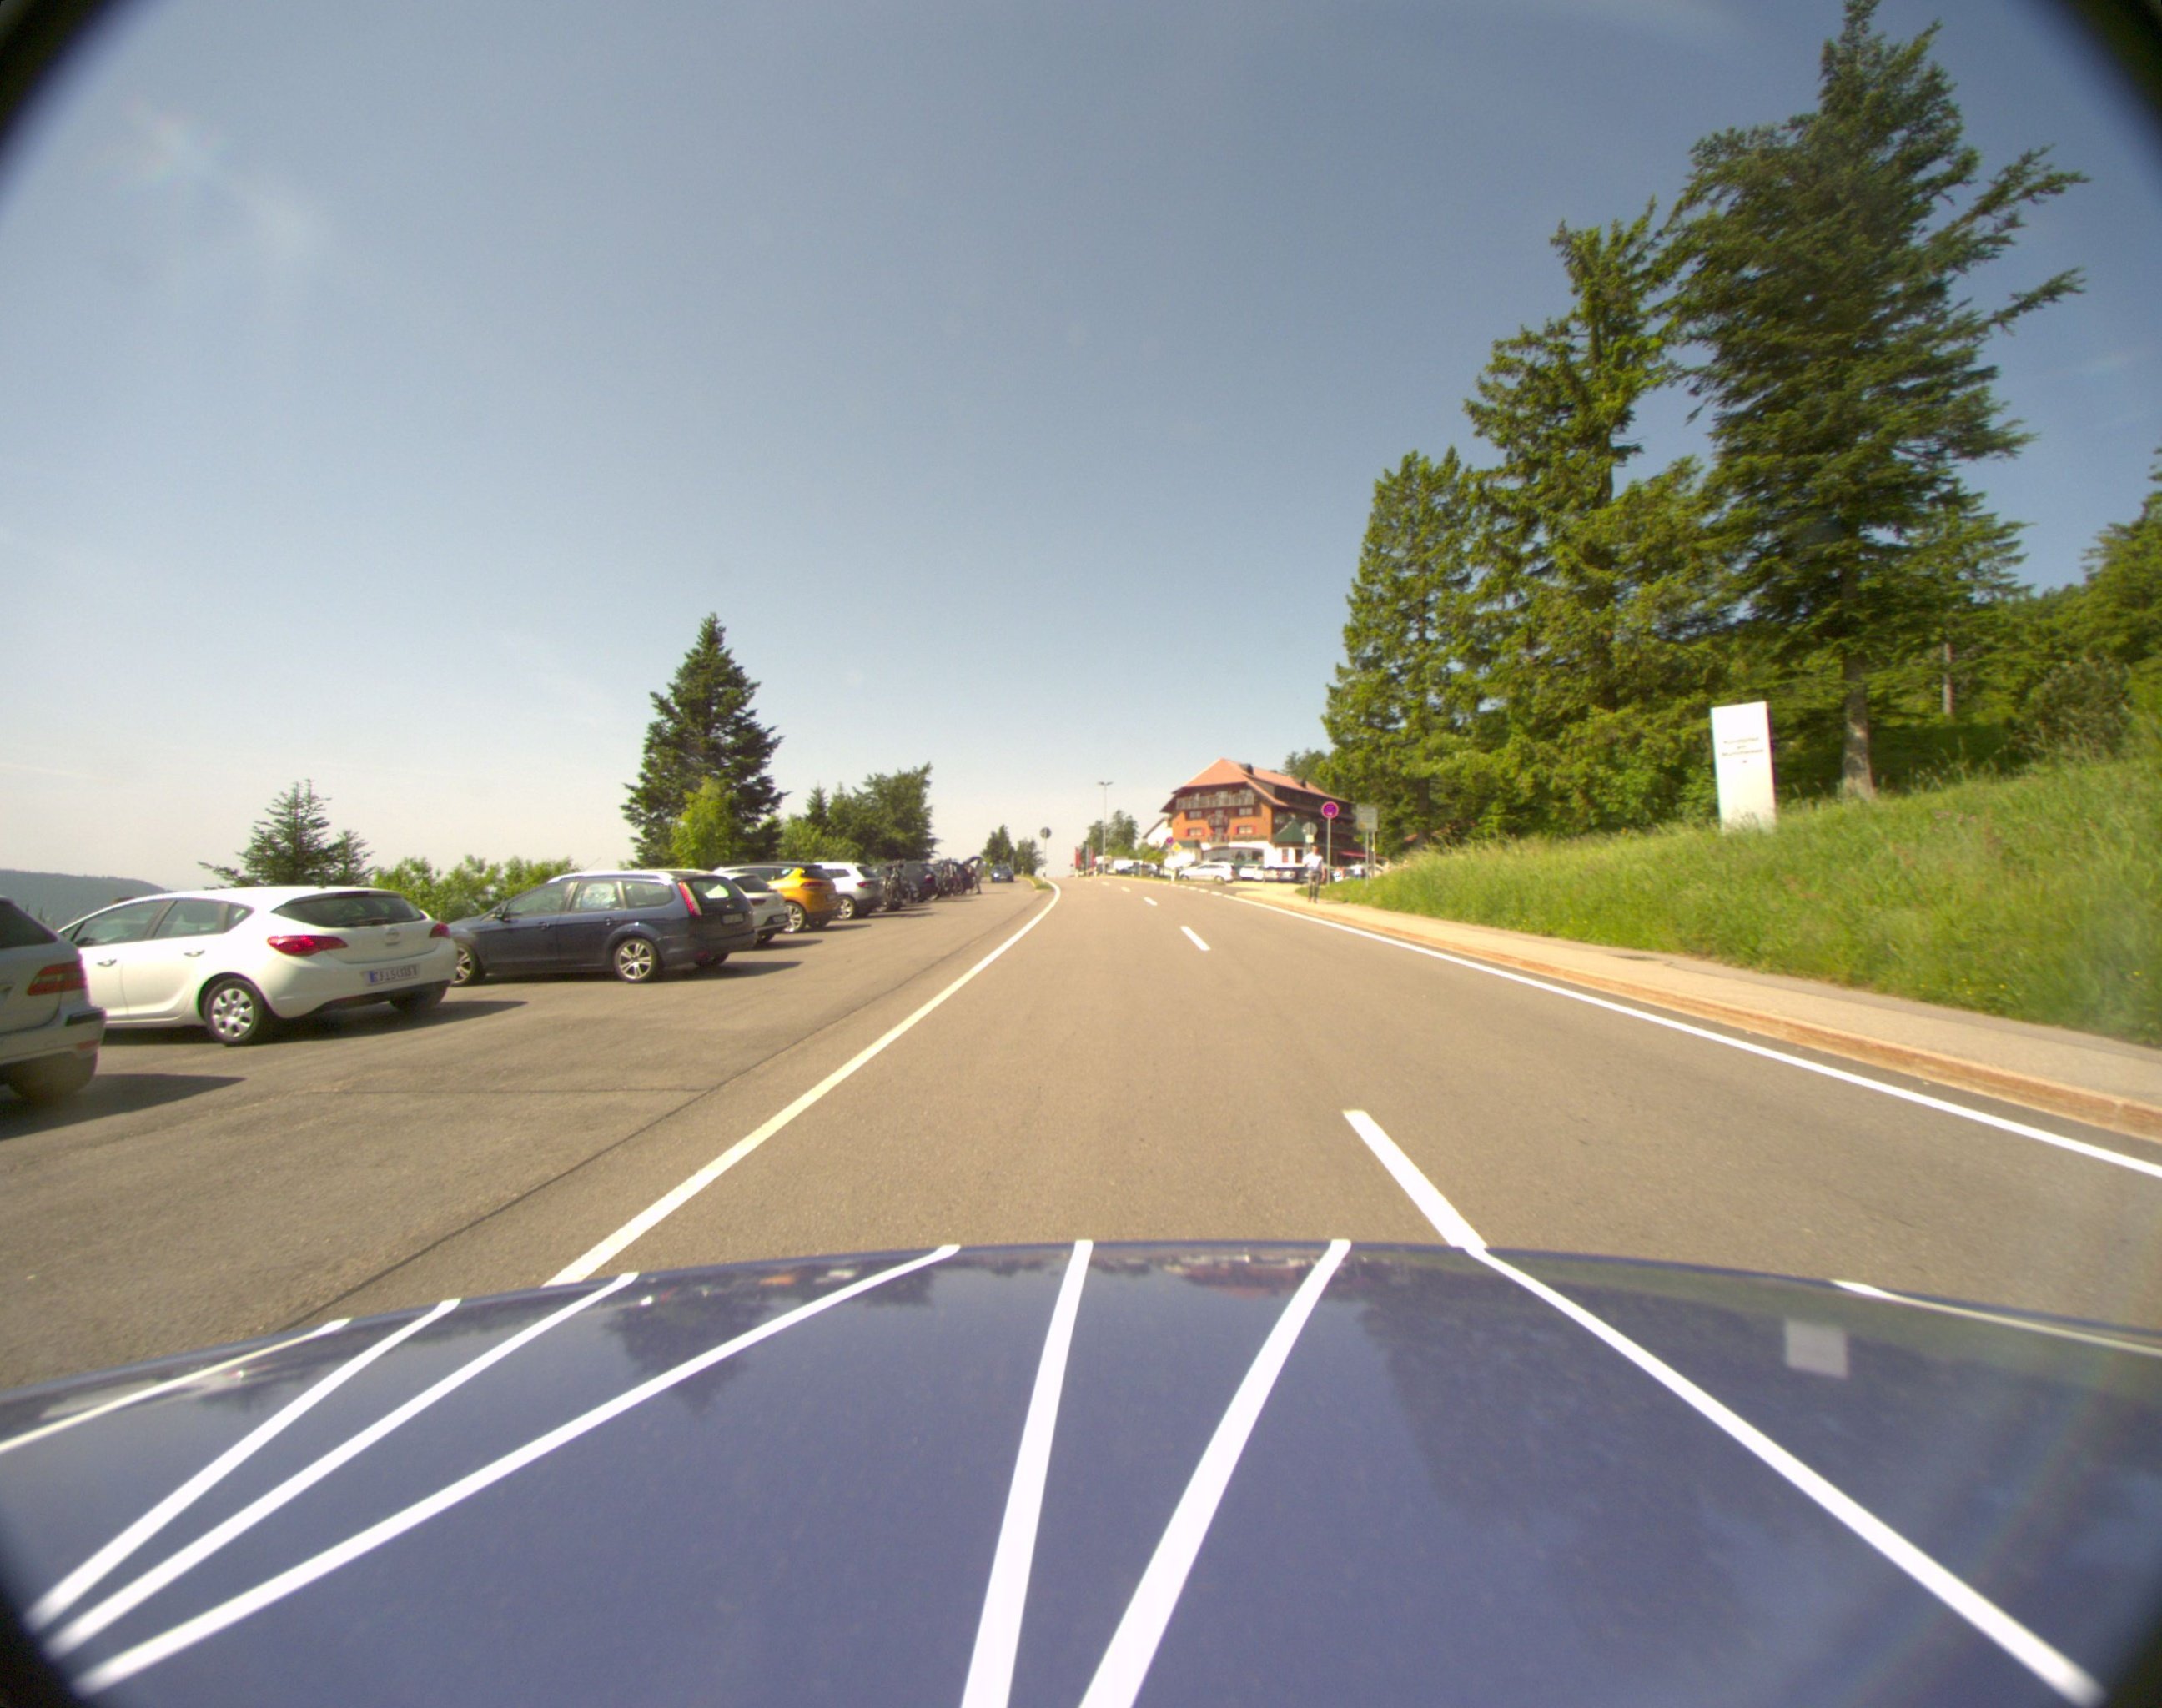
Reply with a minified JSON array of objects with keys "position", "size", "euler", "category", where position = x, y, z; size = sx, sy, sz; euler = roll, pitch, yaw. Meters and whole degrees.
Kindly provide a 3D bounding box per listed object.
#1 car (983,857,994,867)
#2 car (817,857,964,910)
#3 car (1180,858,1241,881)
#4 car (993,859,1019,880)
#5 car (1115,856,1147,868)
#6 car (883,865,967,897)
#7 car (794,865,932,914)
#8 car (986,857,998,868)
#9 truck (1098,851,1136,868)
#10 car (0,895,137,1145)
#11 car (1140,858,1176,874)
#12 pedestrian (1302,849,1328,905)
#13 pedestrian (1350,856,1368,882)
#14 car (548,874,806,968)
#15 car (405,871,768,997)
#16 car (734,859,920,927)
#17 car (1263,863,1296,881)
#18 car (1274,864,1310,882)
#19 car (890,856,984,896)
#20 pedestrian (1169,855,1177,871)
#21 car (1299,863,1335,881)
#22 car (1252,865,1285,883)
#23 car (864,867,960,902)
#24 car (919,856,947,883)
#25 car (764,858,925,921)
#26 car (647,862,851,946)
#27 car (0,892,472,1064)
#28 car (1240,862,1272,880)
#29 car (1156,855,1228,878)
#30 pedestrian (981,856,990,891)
[{"position":[-18.251,1.592,149.541],"size":[1.953,1.970,4.067],"euler":[-1,0,-11],"category":"car"},{"position":[-7.300,1.122,29.500],"size":[5.114,1.610,2.000],"euler":[-4,0,0],"category":"car"},{"position":[9.293,1.132,54.587],"size":[3.952,1.578,1.794],"euler":[-1,0,35],"category":"car"},{"position":[-6.146,1.231,61.647],"size":[2.000,1.537,3.997],"euler":[-1,0,-7],"category":"car"},{"position":[8.308,1.384,126.405],"size":[5.250,1.894,2.001],"euler":[-1,0,4],"category":"car"},{"position":[-7.226,1.226,35.513],"size":[3.685,1.343,1.737],"euler":[-2,0,-7],"category":"car"},{"position":[-7.712,1.238,27.082],"size":[4.323,1.423,1.690],"euler":[-4,0,2],"category":"car"},{"position":[-16.950,1.563,144.581],"size":[2.000,2.002,3.997],"euler":[-1,0,-9],"category":"car"},{"position":[6.458,0.869,134.209],"size":[2.862,2.813,8.778],"euler":[-1,0,32],"category":"truck"},{"position":[-8.979,1.164,4.903],"size":[3.994,1.565,1.768],"euler":[-2,0,8],"category":"car"},{"position":[8.018,1.221,79.432],"size":[3.325,1.583,1.720],"euler":[-1,0,42],"category":"car"},{"position":[7.346,0.714,23.876],"size":[0.581,1.731,0.686],"euler":[-1,0,-4],"category":"pedestrian"},{"position":[18.302,0.993,50.088],"size":[0.910,1.731,0.638],"euler":[0,0,43],"category":"pedestrian"},{"position":[-7.449,1.212,14.251],"size":[3.892,1.412,1.614],"euler":[-3,1,2],"category":"car"},{"position":[-6.894,1.091,10.824],"size":[4.139,1.535,1.673],"euler":[-2,0,6],"category":"car"},{"position":[-7.017,1.050,21.359],"size":[4.487,1.617,2.013],"euler":[-3,0,-1],"category":"car"},{"position":[17.021,1.541,65.081],"size":[1.636,1.425,3.323],"euler":[-1,-1,36],"category":"car"},{"position":[17.253,1.507,62.080],"size":[1.714,1.425,3.323],"euler":[-1,-1,36],"category":"car"},{"position":[-7.197,1.079,38.391],"size":[4.324,1.811,2.000],"euler":[-2,0,-1],"category":"car"},{"position":[9.801,1.006,80.936],"size":[0.779,1.689,0.683],"euler":[-1,0,2],"category":"pedestrian"},{"position":[18.394,1.420,59.186],"size":[1.708,1.387,3.323],"euler":[-1,-1,36],"category":"car"},{"position":[16.947,1.785,68.670],"size":[1.727,1.457,3.528],"euler":[-1,0,35],"category":"car"},{"position":[-7.165,1.278,32.377],"size":[3.709,1.261,1.564],"euler":[-3,-1,-1],"category":"car"},{"position":[-10.876,1.102,56.104],"size":[1.867,1.830,3.880],"euler":[-1,0,-9],"category":"car"},{"position":[-7.361,1.080,23.946],"size":[4.430,1.609,1.752],"euler":[-4,0,-1],"category":"car"},{"position":[-7.590,1.113,17.620],"size":[3.887,1.606,1.710],"euler":[-4,0,1],"category":"car"},{"position":[-8.940,1.223,7.880],"size":[3.994,1.411,1.768],"euler":[-3,0,8],"category":"car"},{"position":[16.458,1.569,71.544],"size":[1.710,1.543,3.141],"euler":[-1,0,39],"category":"car"},{"position":[8.937,1.002,61.261],"size":[5.350,1.858,2.004],"euler":[-1,0,30],"category":"car"},{"position":[-4.915,0.991,39.153],"size":[0.367,1.812,0.549],"euler":[-1,0,-2],"category":"pedestrian"}]
